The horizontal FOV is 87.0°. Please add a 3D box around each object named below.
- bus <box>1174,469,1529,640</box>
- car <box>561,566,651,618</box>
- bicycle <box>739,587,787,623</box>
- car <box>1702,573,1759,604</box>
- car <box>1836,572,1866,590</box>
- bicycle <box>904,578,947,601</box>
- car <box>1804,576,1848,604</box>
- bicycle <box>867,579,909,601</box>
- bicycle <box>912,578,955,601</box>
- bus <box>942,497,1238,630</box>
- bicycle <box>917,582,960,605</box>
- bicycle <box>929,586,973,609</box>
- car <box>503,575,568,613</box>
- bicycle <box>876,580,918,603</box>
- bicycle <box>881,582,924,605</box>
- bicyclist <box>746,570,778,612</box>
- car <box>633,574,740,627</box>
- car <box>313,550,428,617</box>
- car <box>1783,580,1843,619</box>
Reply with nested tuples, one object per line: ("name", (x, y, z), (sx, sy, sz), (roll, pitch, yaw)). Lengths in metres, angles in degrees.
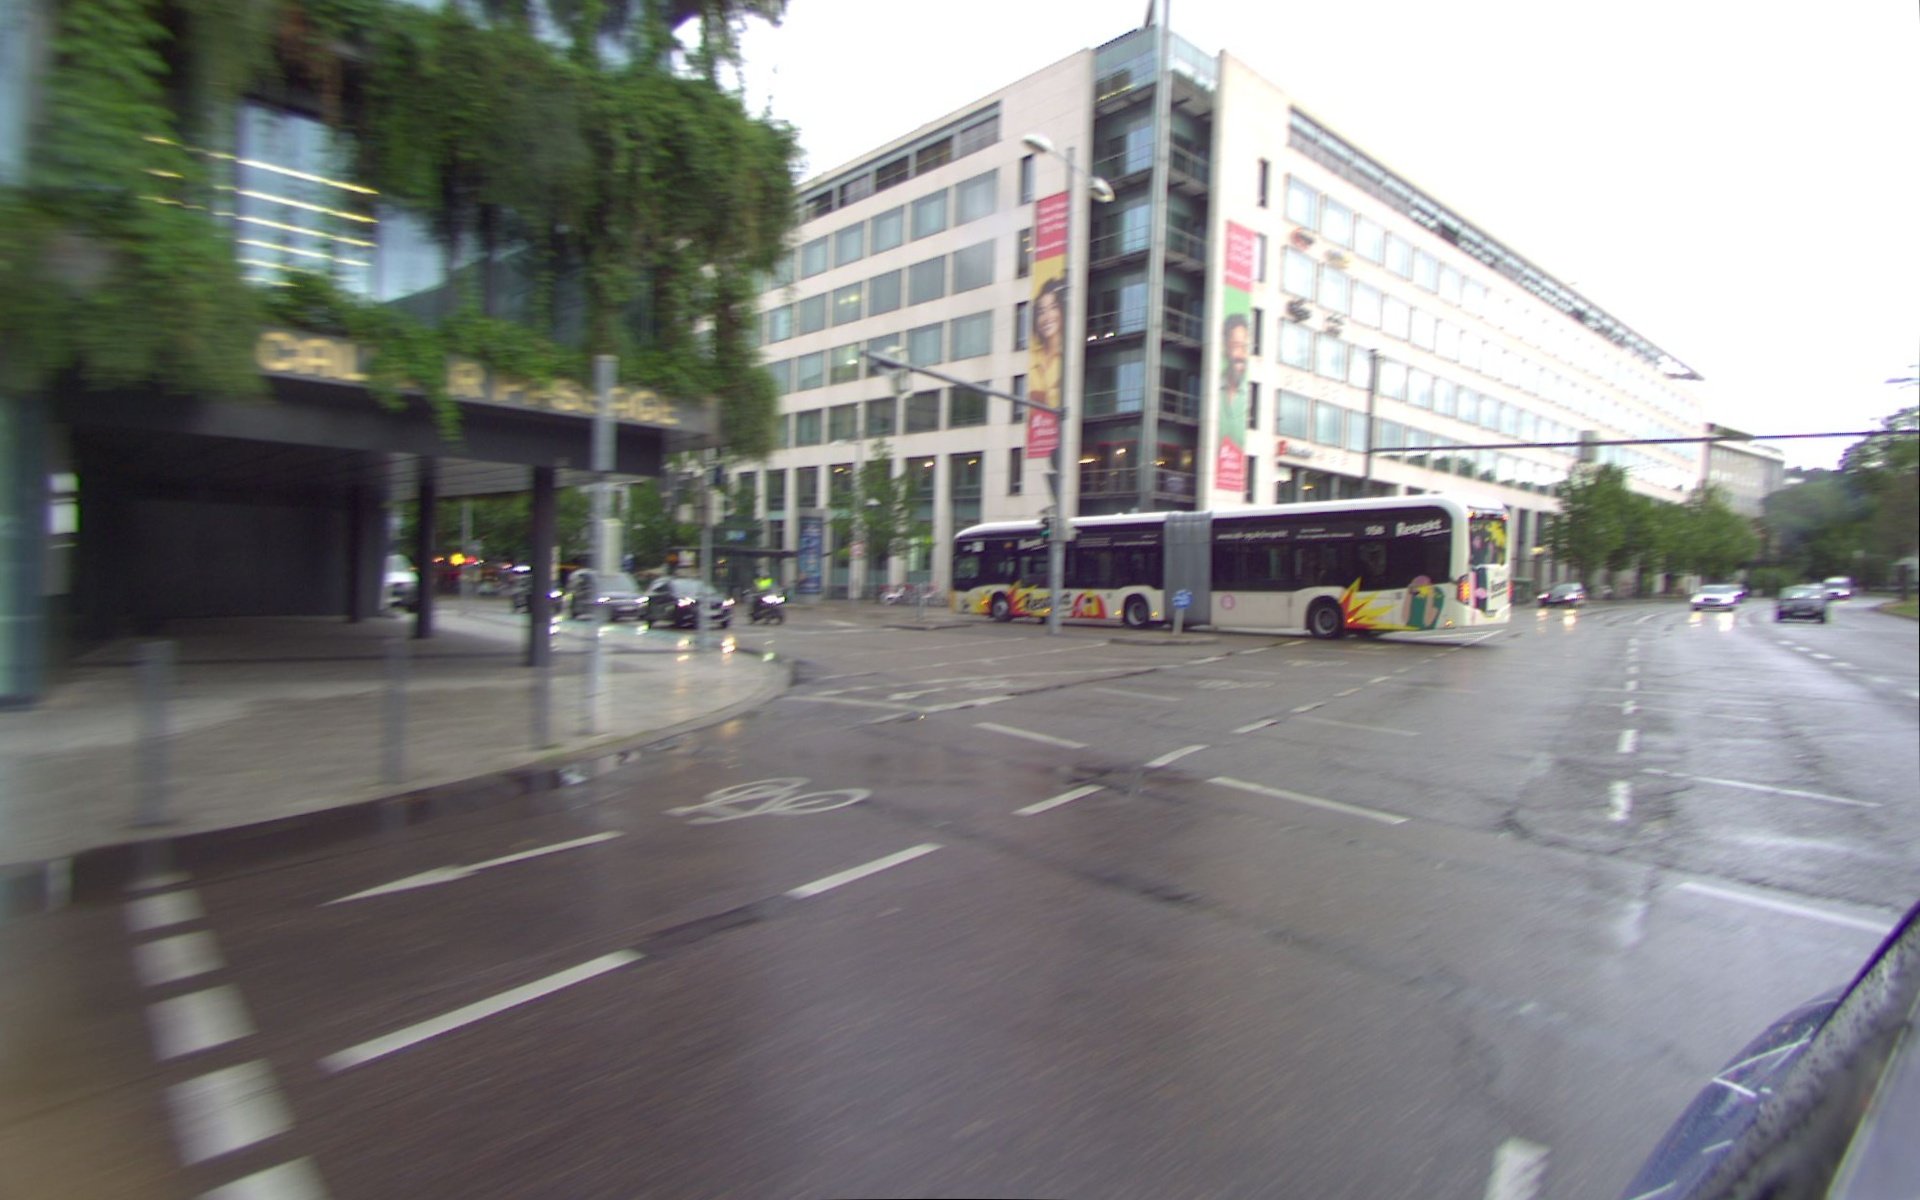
("bus", (9.450, -1.058, 25.463), (2.639, 3.633, 8.080), (0, 1, -39))
("car", (-12.844, -0.296, 36.537), (1.794, 1.780, 4.774), (0, 1, -36))
("bicycle", (-6.509, 0.138, 33.367), (0.793, 1.150, 2.091), (0, 1, -34))
("car", (42.249, -0.654, 55.470), (1.974, 1.571, 4.597), (3, 3, 44))
("car", (101.526, -2.178, 115.292), (3.930, 2.038, 1.998), (0, 2, -41))
("bicycle", (-1.736, -0.533, 51.164), (2.306, 1.112, 0.489), (0, 1, -39))
("car", (69.852, -0.798, 81.649), (5.017, 2.155, 1.977), (-1, 2, -41))
("bicycle", (-3.701, -0.515, 52.187), (2.306, 1.112, 0.489), (0, 1, -39))
("bicycle", (-1.318, -0.520, 50.732), (2.306, 1.112, 0.489), (0, 1, -39))
("bus", (3.704, -1.120, 32.329), (2.639, 3.633, 10.309), (0, 1, -40))
("bicycle", (-1.042, -0.346, 50.140), (2.306, 1.112, 0.489), (0, 1, -39))
("bicycle", (-0.425, -0.125, 49.393), (2.306, 1.112, 0.489), (0, 1, -39))
("car", (-19.513, -0.285, 46.399), (1.794, 1.656, 4.496), (-1, 1, -36))
("bicycle", (-3.186, -0.443, 51.327), (2.306, 1.112, 0.489), (0, 1, -39))
("bicycle", (-2.866, -0.351, 50.925), (2.306, 1.112, 0.489), (-1, 2, -39))
("bicyclist", (-6.532, -0.296, 33.376), (0.781, 1.353, 0.743), (0, 1, -35))
("car", (-8.462, -0.004, 31.030), (1.794, 1.518, 4.201), (-1, 1, -36))
("car", (-19.102, -0.574, 32.679), (2.085, 1.980, 4.857), (-1, 2, -45))
("car", (34.616, -0.060, 41.130), (1.716, 1.450, 3.944), (2, 2, 39))
